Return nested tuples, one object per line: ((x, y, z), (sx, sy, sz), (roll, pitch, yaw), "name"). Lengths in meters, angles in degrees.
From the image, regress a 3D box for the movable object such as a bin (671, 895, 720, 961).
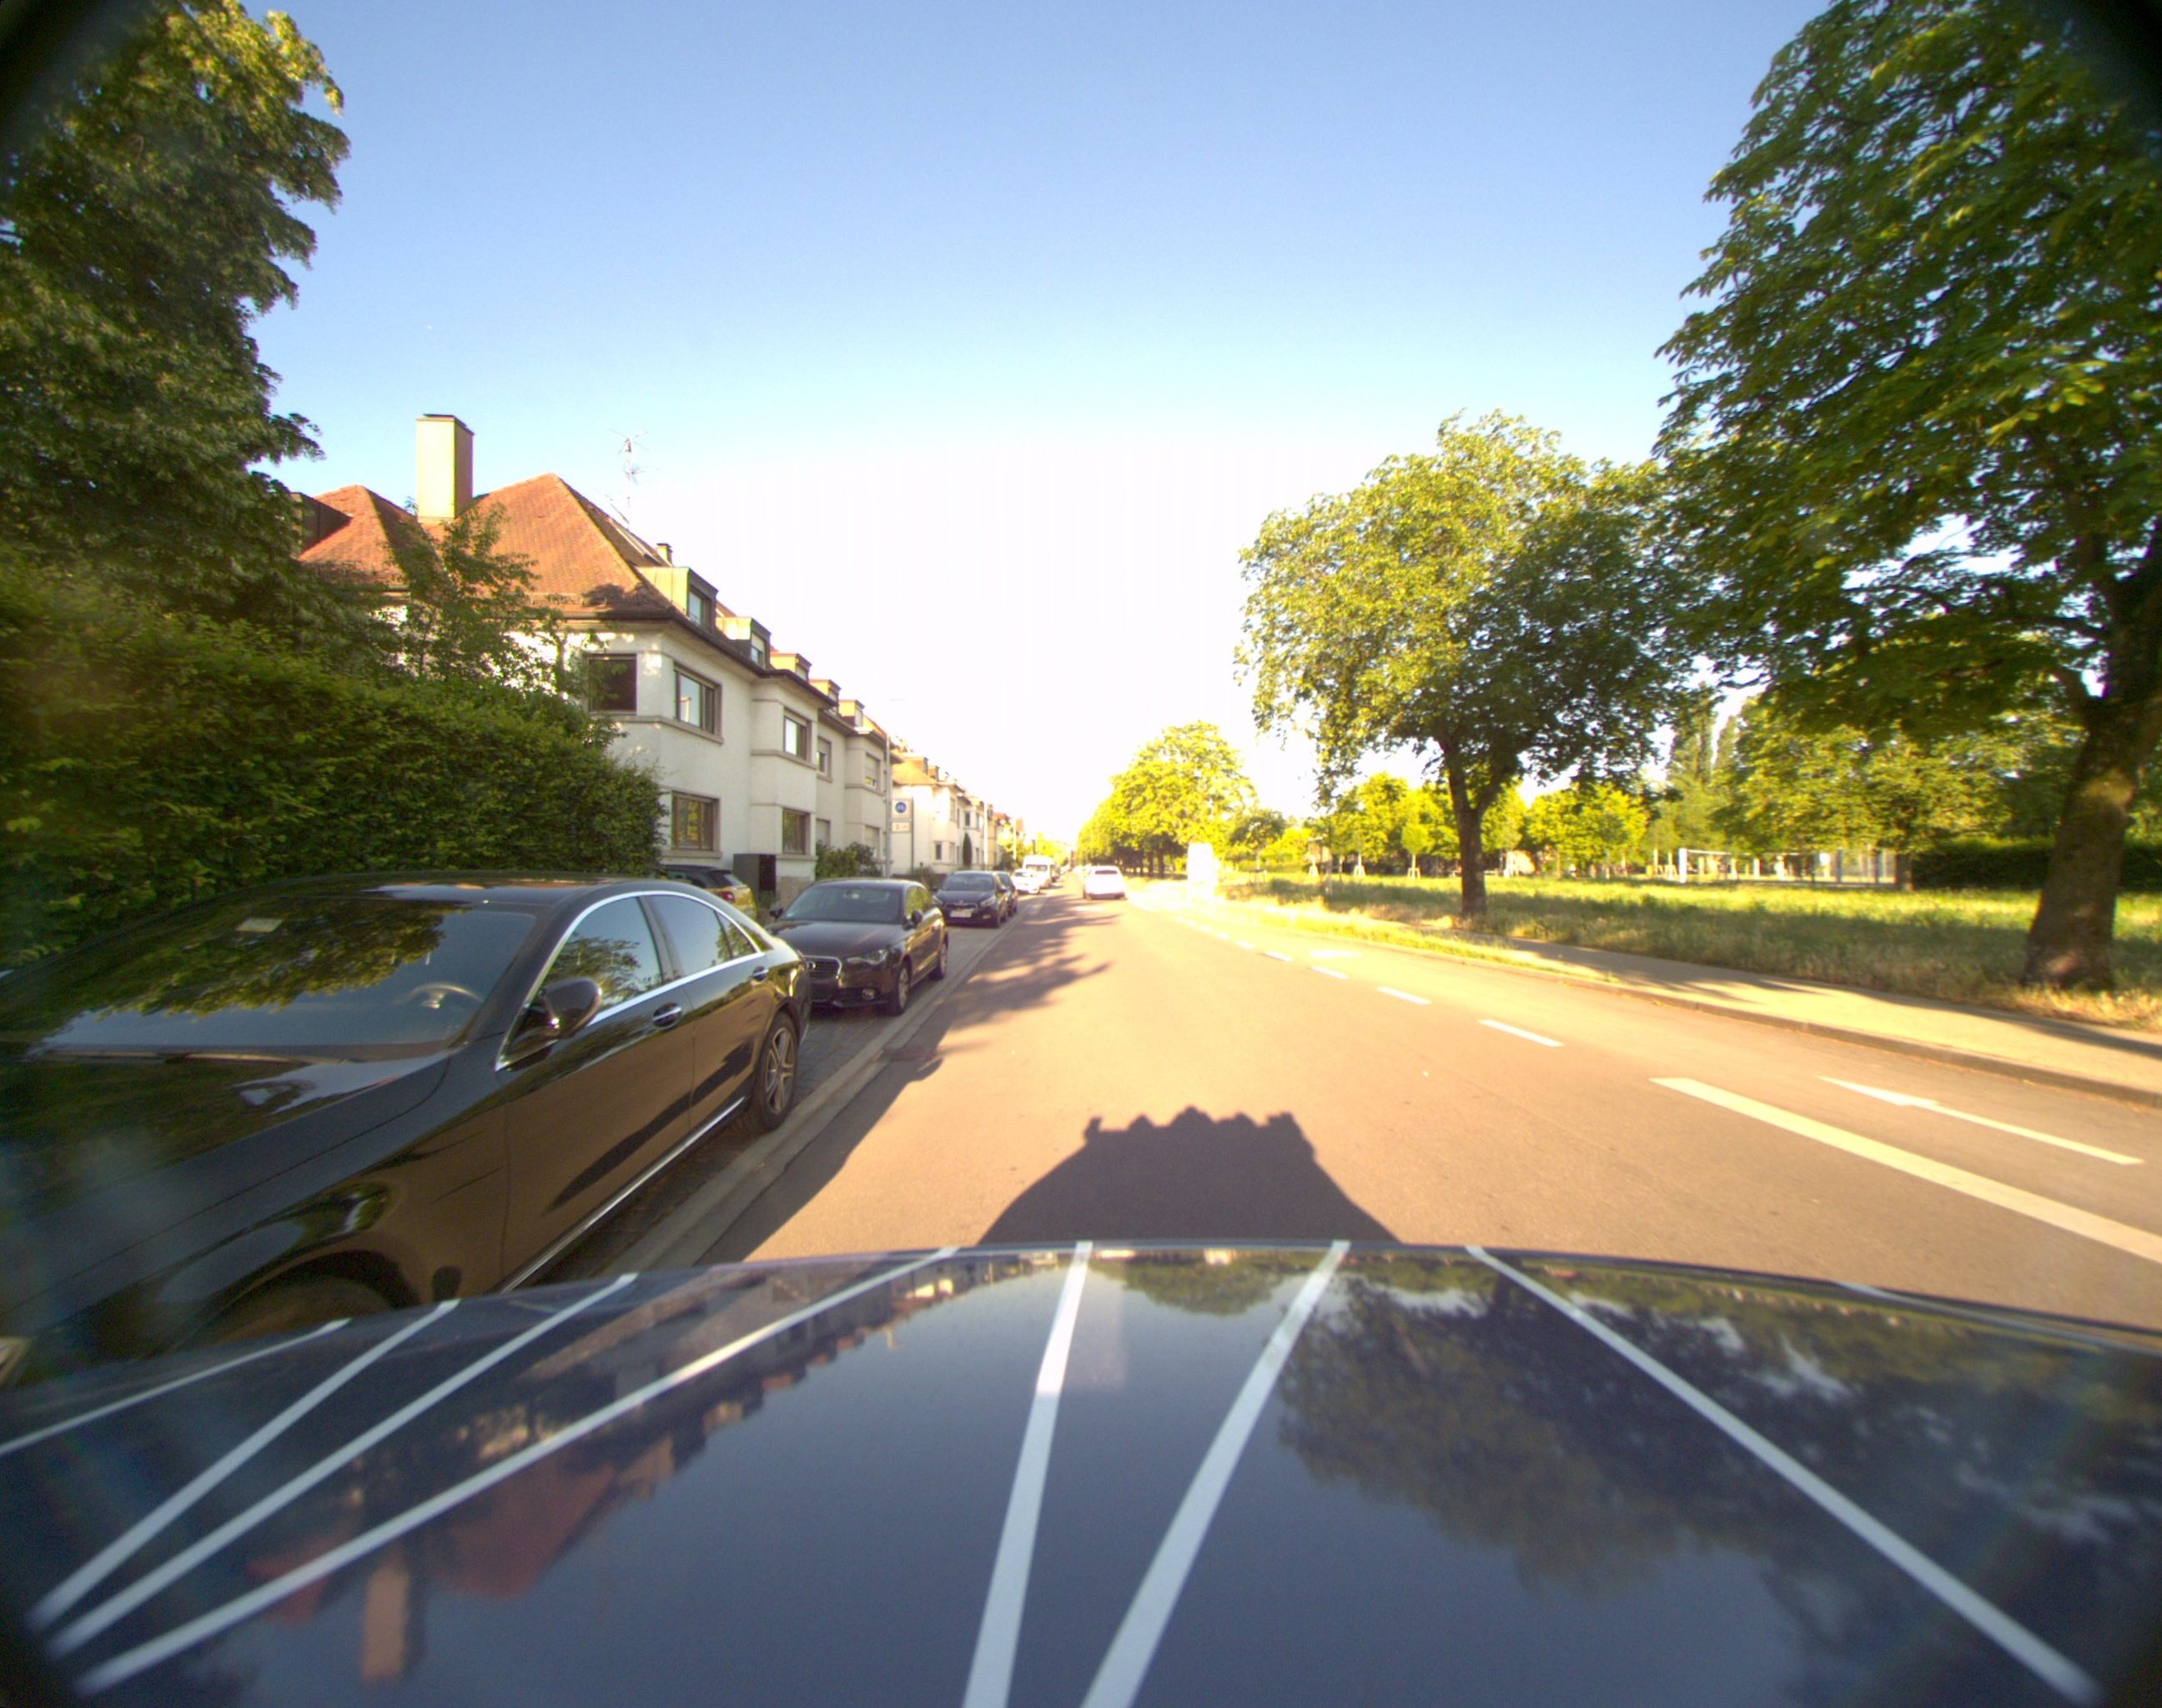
((-6.436, 1.222, 12.706), (0.509, 1.037, 0.658), (0, 0, -6), "movable object such as a bin")

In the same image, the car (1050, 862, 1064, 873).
((-3.567, 2.026, 115.111), (1.974, 1.630, 4.000), (2, -1, 0), "car")

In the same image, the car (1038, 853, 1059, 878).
((-3.742, 1.347, 88.606), (2.134, 2.837, 5.987), (1, -1, 0), "car")

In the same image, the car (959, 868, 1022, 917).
((-3.003, 1.258, 26.013), (1.723, 1.462, 3.983), (2, -1, -1), "car")

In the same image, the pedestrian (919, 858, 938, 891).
((-9.499, 1.264, 47.166), (1.089, 2.002, 0.865), (0, 0, -16), "pedestrian")

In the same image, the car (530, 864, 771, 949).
((-8.235, 0.983, 14.831), (3.644, 1.487, 1.780), (2, 0, -4), "car")

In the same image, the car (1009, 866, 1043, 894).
((-3.237, 1.501, 44.982), (1.787, 1.498, 4.233), (-1, 0, -1), "car")

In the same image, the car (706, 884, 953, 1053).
((-2.662, 1.139, 9.026), (1.645, 1.419, 3.936), (2, -1, -1), "car")

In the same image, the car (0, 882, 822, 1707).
((-2.629, 0.940, 2.800), (1.864, 1.533, 4.872), (0, 0, -2), "car")

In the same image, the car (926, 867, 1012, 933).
((-2.926, 1.161, 20.681), (1.751, 1.466, 4.255), (3, -1, -1), "car")

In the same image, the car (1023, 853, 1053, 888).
((-3.255, 1.226, 58.071), (2.135, 2.503, 5.507), (1, -1, -2), "car")

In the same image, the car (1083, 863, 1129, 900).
((1.191, 1.299, 37.657), (1.896, 1.666, 4.424), (-1, 0, -3), "car")
